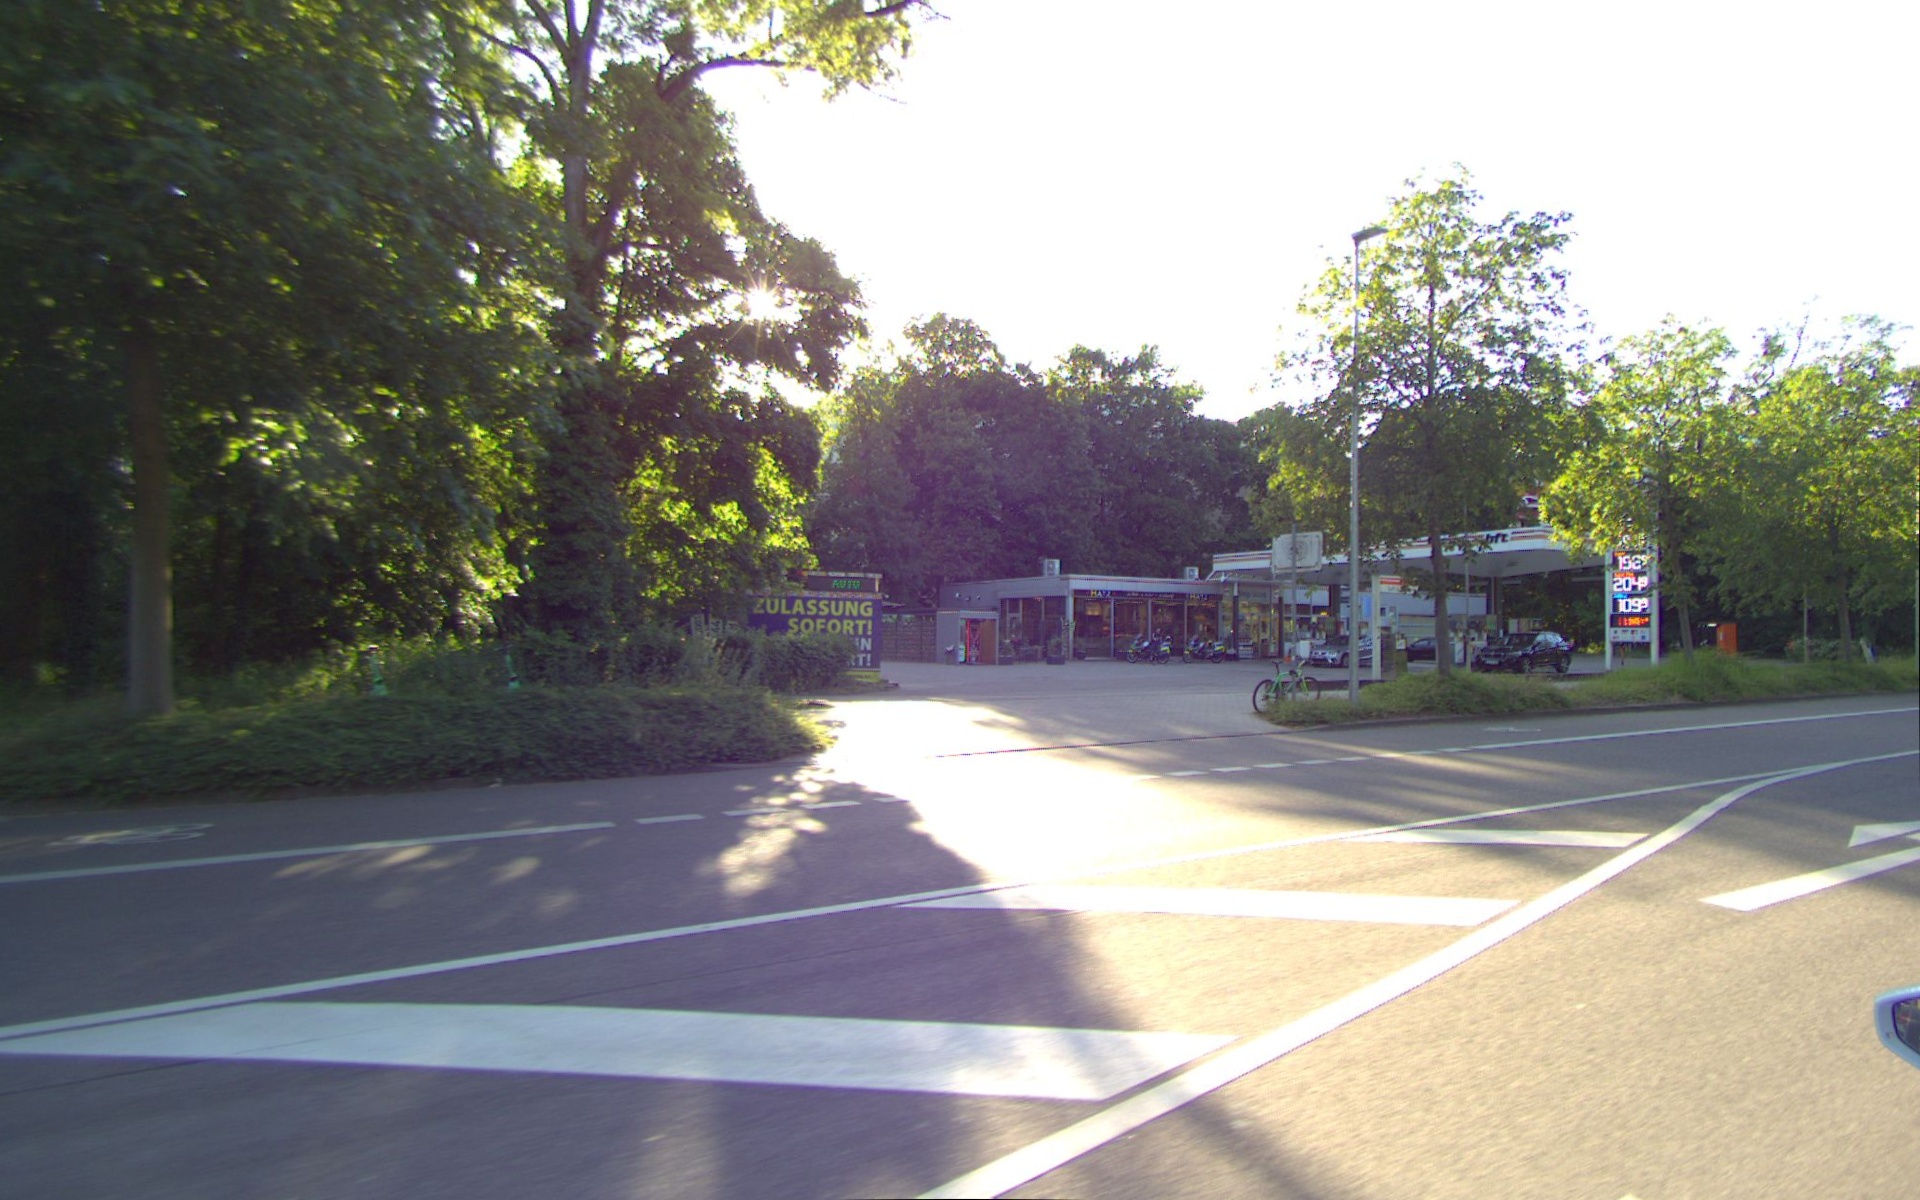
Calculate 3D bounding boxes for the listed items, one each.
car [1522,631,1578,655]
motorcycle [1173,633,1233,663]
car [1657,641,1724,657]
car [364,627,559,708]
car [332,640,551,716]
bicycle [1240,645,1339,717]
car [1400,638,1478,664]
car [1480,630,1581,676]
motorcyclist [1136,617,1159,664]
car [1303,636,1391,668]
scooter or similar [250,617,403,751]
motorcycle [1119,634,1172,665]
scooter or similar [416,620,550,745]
[{"bbox_3d":[46.821,3.405,79.672,4.221,1.844,1.984,2,0,-30],"label":"car"},{"bbox_3d":[12.183,2.407,50.412,2.693,1.470,1.134,0,-2,-4],"label":"motorcycle"},{"bbox_3d":[63.591,4.282,87.496,4.325,1.332,2.001,0,-2,2],"label":"car"},{"bbox_3d":[-10.732,1.437,21.788,3.421,1.672,1.563,0,-2,1],"label":"car"},{"bbox_3d":[-10.061,1.520,19.656,3.421,1.418,1.564,0,-4,1],"label":"car"},{"bbox_3d":[6.259,1.501,19.011,2.138,1.266,0.650,1,-2,-36],"label":"bicycle"},{"bbox_3d":[26.657,2.831,55.954,1.705,1.371,3.586,2,-3,-44],"label":"car"},{"bbox_3d":[22.418,2.060,39.397,4.408,1.713,1.700,2,-2,-35],"label":"car"},{"bbox_3d":[9.051,1.940,48.442,0.996,2.211,1.124,0,-2,14],"label":"motorcyclist"},{"bbox_3d":[17.830,2.370,46.198,4.014,1.394,1.702,1,-2,-32],"label":"car"},{"bbox_3d":[-8.714,1.127,13.910,1.720,1.739,0.824,1,-2,-30],"label":"scooter or similar"},{"bbox_3d":[8.934,2.389,48.454,2.455,1.470,1.135,0,-2,14],"label":"motorcycle"},{"bbox_3d":[-7.033,1.177,14.836,1.720,1.739,0.824,1,-2,-30],"label":"scooter or similar"}]
